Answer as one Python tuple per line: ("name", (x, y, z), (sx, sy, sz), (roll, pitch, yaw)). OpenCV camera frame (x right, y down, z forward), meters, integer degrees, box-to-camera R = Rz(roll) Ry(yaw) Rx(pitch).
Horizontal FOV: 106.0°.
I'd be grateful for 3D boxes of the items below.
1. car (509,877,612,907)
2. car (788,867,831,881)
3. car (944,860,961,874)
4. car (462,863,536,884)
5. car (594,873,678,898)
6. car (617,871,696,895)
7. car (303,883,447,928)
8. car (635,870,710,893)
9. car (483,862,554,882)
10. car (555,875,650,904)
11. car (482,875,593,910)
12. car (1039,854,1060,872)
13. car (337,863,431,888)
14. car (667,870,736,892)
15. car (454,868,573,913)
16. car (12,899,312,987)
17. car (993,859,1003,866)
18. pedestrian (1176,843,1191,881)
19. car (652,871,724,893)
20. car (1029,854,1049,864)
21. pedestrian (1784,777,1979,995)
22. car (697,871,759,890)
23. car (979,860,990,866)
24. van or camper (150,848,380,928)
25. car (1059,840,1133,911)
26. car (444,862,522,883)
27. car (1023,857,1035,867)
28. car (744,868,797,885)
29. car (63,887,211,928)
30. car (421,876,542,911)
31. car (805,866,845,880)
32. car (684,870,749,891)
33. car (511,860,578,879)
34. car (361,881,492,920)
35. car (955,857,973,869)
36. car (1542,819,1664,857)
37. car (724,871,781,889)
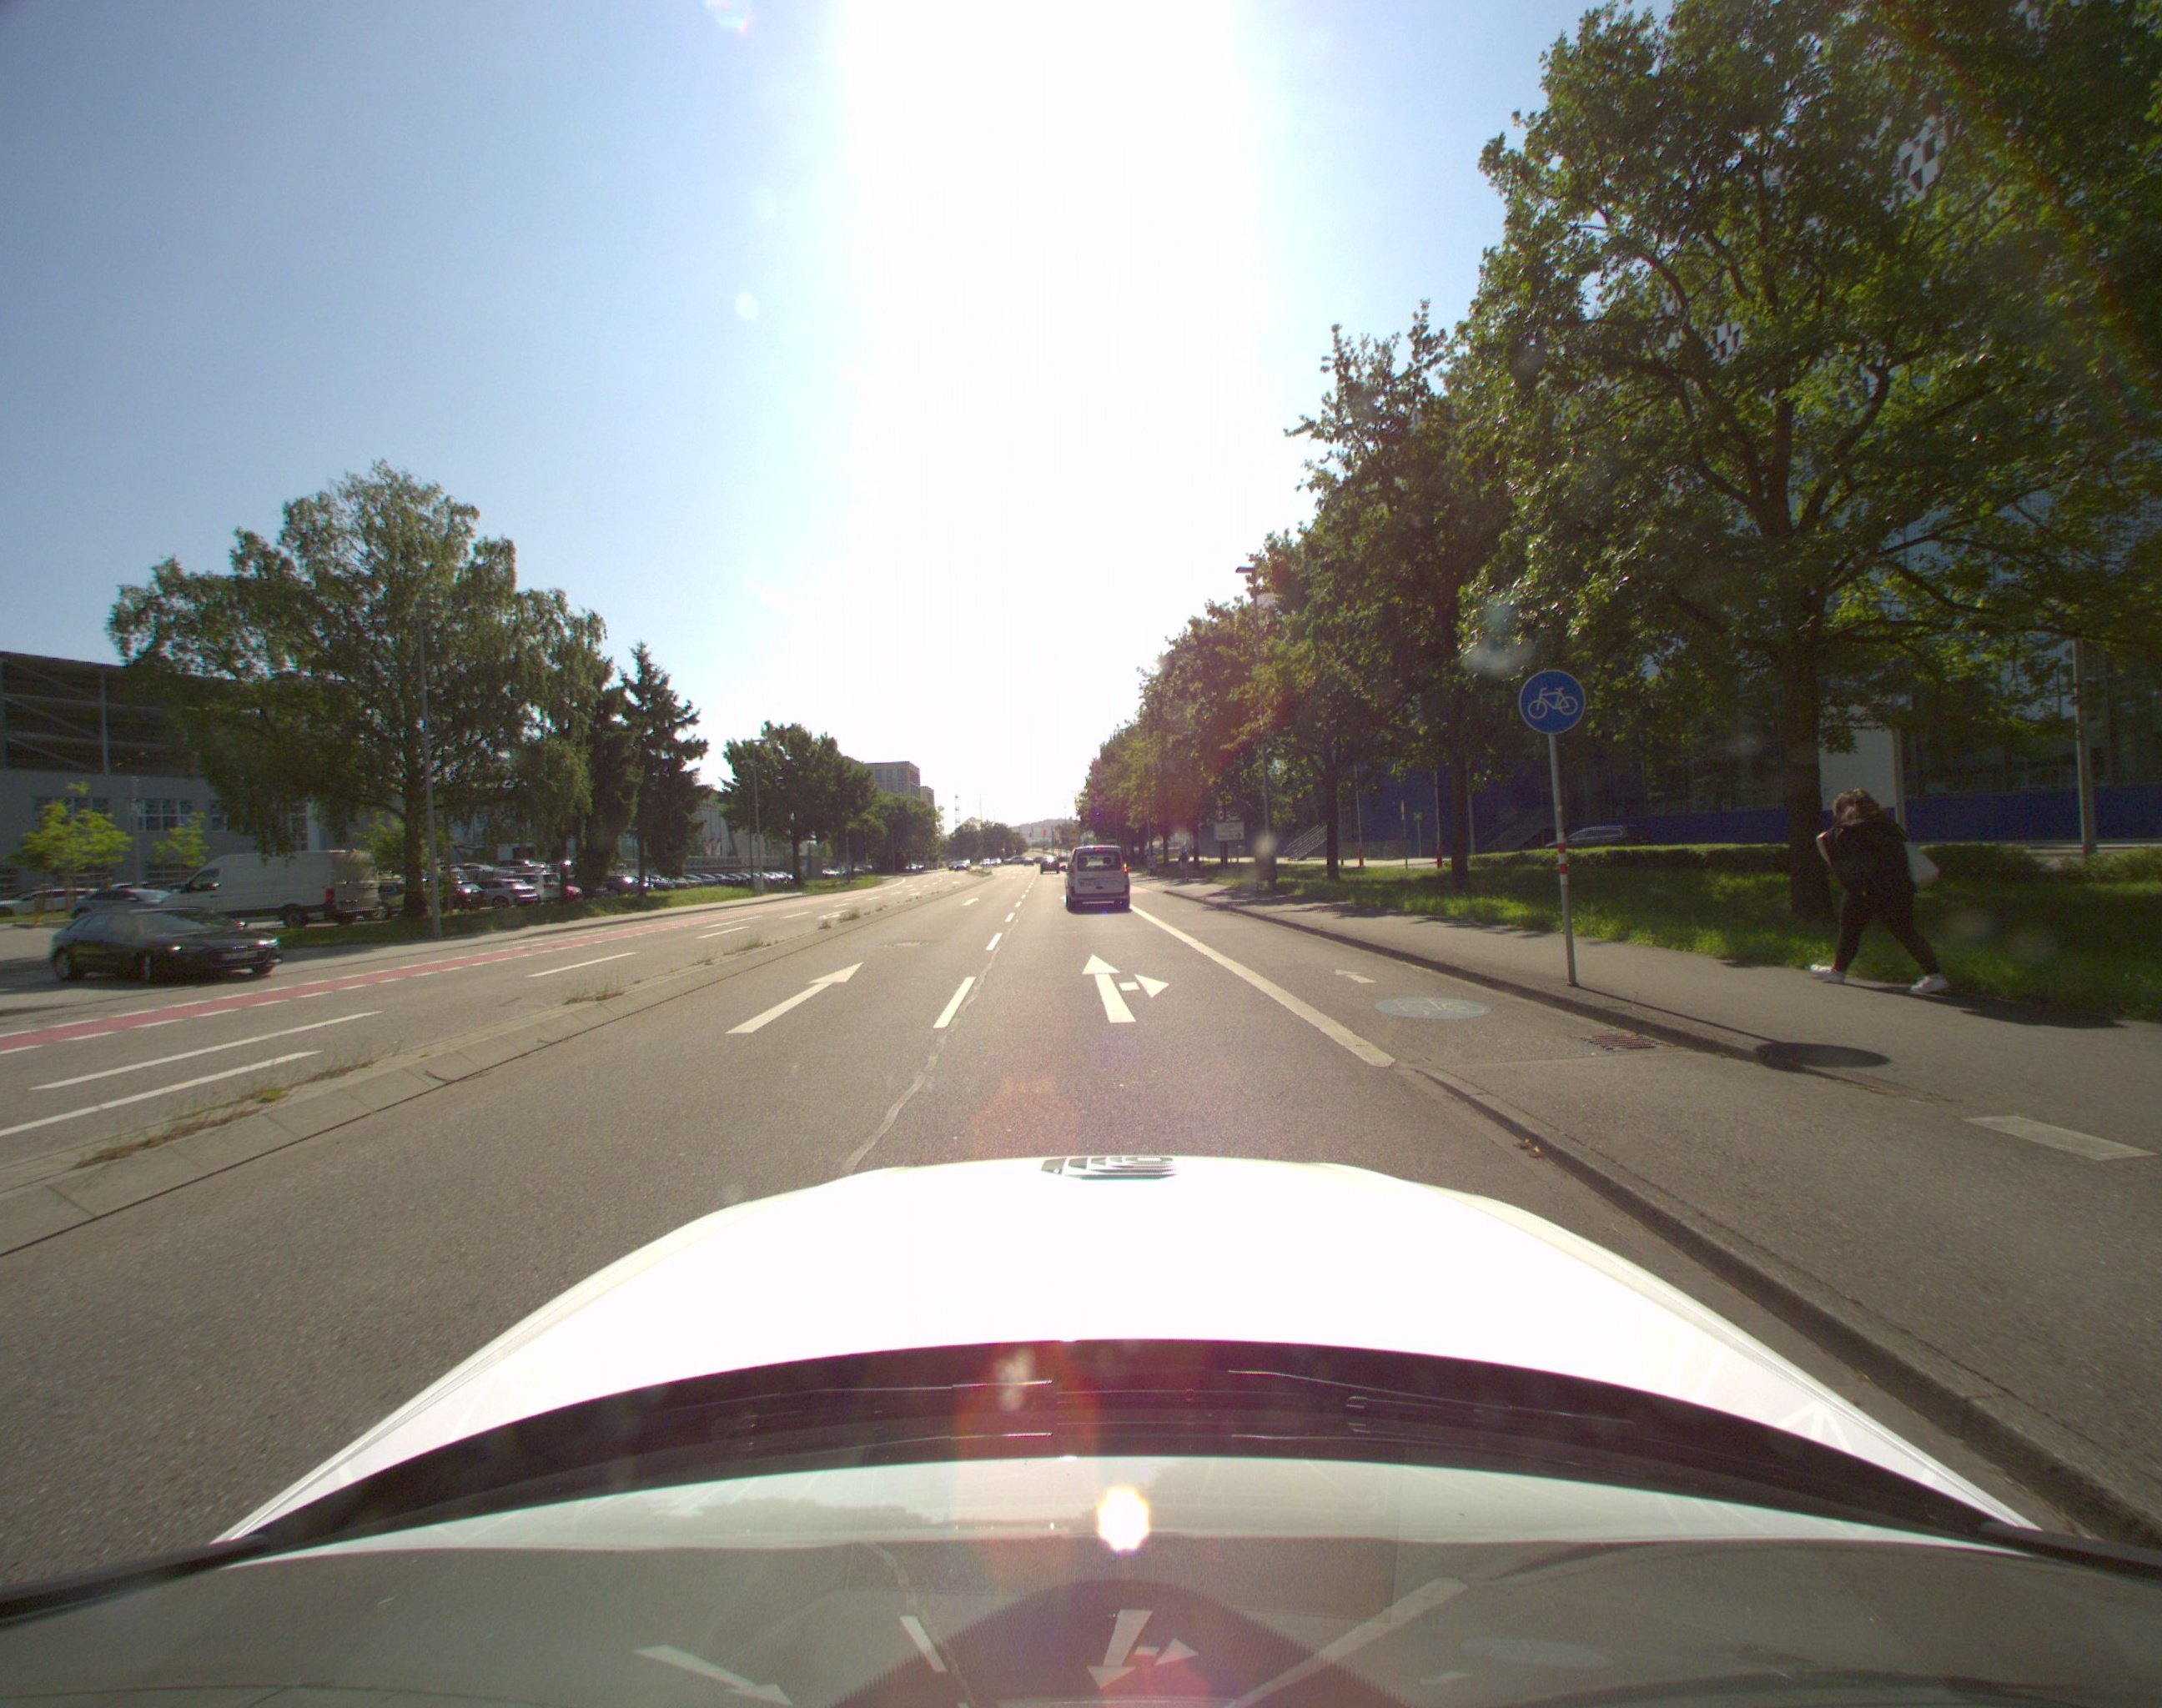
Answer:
("car", (-28.316, 2.049, 44.398), (4.252, 1.328, 1.953), (-3, 0, 0))
("car", (-29.951, 2.205, 89.926), (3.977, 1.376, 1.998), (-3, 0, -2))
("car", (-20.233, 2.016, 128.373), (1.987, 2.013, 3.999), (-1, 1, -1))
("car", (-45.380, 1.491, 63.581), (4.254, 1.350, 1.953), (-3, 0, -2))
("car", (-28.704, 2.022, 52.648), (4.252, 1.350, 1.953), (-3, 0, 0))
("car", (-28.706, 1.974, 55.123), (4.252, 1.350, 1.953), (-3, 0, 0))
("car", (-27.331, 1.971, 31.596), (4.070, 1.438, 1.745), (-3, 0, 3))
("car", (-28.926, 1.967, 57.809), (4.252, 1.350, 1.953), (-3, 0, 0))
("car", (-45.711, 1.436, 66.225), (4.254, 1.350, 1.953), (-3, 0, -2))
("car", (-27.849, 2.068, 47.500), (4.252, 1.381, 1.953), (-3, 0, 0))
("car", (-27.605, 1.932, 41.487), (4.252, 1.504, 1.953), (-3, 0, 0))
("car", (-3.063, 0.846, 80.104), (1.801, 1.640, 4.460), (-3, 0, 1))
("car", (-45.131, 1.389, 52.790), (4.254, 1.350, 1.953), (-3, 0, -2))
("car", (-29.159, 2.065, 62.650), (4.252, 1.350, 1.953), (-3, 0, 0))
("car", (-27.230, 1.732, 39.203), (4.252, 1.884, 1.953), (-3, 0, 0))
("car", (-18.727, 1.797, 16.671), (4.634, 1.413, 2.007), (-3, 0, 12))
("car", (-19.600, 2.035, 192.487), (1.808, 1.464, 4.002), (-3, 0, 2))
("pedestrian", (5.038, 0.396, 40.084), (0.533, 1.841, 0.727), (-3, 0, -2))
("car", (-29.058, 2.052, 60.330), (4.252, 1.350, 1.953), (-3, 0, 0))
("car", (-9.010, 1.029, 175.704), (3.996, 2.013, 1.989), (-1, 1, -17))
("pedestrian", (6.356, 0.237, 6.519), (0.645, 1.603, 0.846), (-3, 0, -1))
("car", (-29.561, 2.214, 68.337), (4.252, 1.350, 1.953), (-3, 0, 0))
("car", (-22.720, 2.103, 191.154), (1.884, 1.464, 4.002), (-3, 0, 2))
("van or camper", (-27.246, 1.083, 27.381), (5.369, 2.470, 1.997), (-1, 1, -5))
("car", (0.359, 0.589, 24.414), (1.901, 1.829, 4.176), (-3, 0, -2))
("car", (-44.899, 1.373, 61.219), (4.254, 1.350, 1.953), (-3, 0, -2))
("car", (-9.718, 1.400, 151.298), (1.988, 1.684, 3.997), (-3, 0, -2))
("car", (-29.719, 2.159, 78.092), (4.252, 1.350, 1.953), (-3, 0, 0))
("car", (-38.606, 2.156, 33.368), (4.070, 1.354, 1.745), (-3, 0, 3))
("car", (-26.956, 1.755, 36.686), (4.074, 1.293, 1.743), (-3, 0, 0))
("car", (-30.079, 2.246, 95.793), (4.032, 1.376, 2.023), (-3, 0, -2))
("car", (-29.220, 2.109, 65.454), (4.252, 1.350, 1.953), (-3, 0, 0))
("car", (-45.324, 1.314, 68.817), (4.254, 1.350, 1.953), (-3, 0, -2))
("car", (-27.235, 1.917, 33.972), (4.070, 1.354, 1.745), (-3, -1, 3))
("car", (-16.562, 1.232, 115.264), (1.836, 1.463, 4.996), (-5, 0, -2))
("car", (23.935, -0.705, 37.511), (1.916, 1.520, 4.334), (-3, 0, -28))
("car", (-29.622, 2.329, 73.560), (4.252, 1.350, 1.953), (-3, 0, 0))
